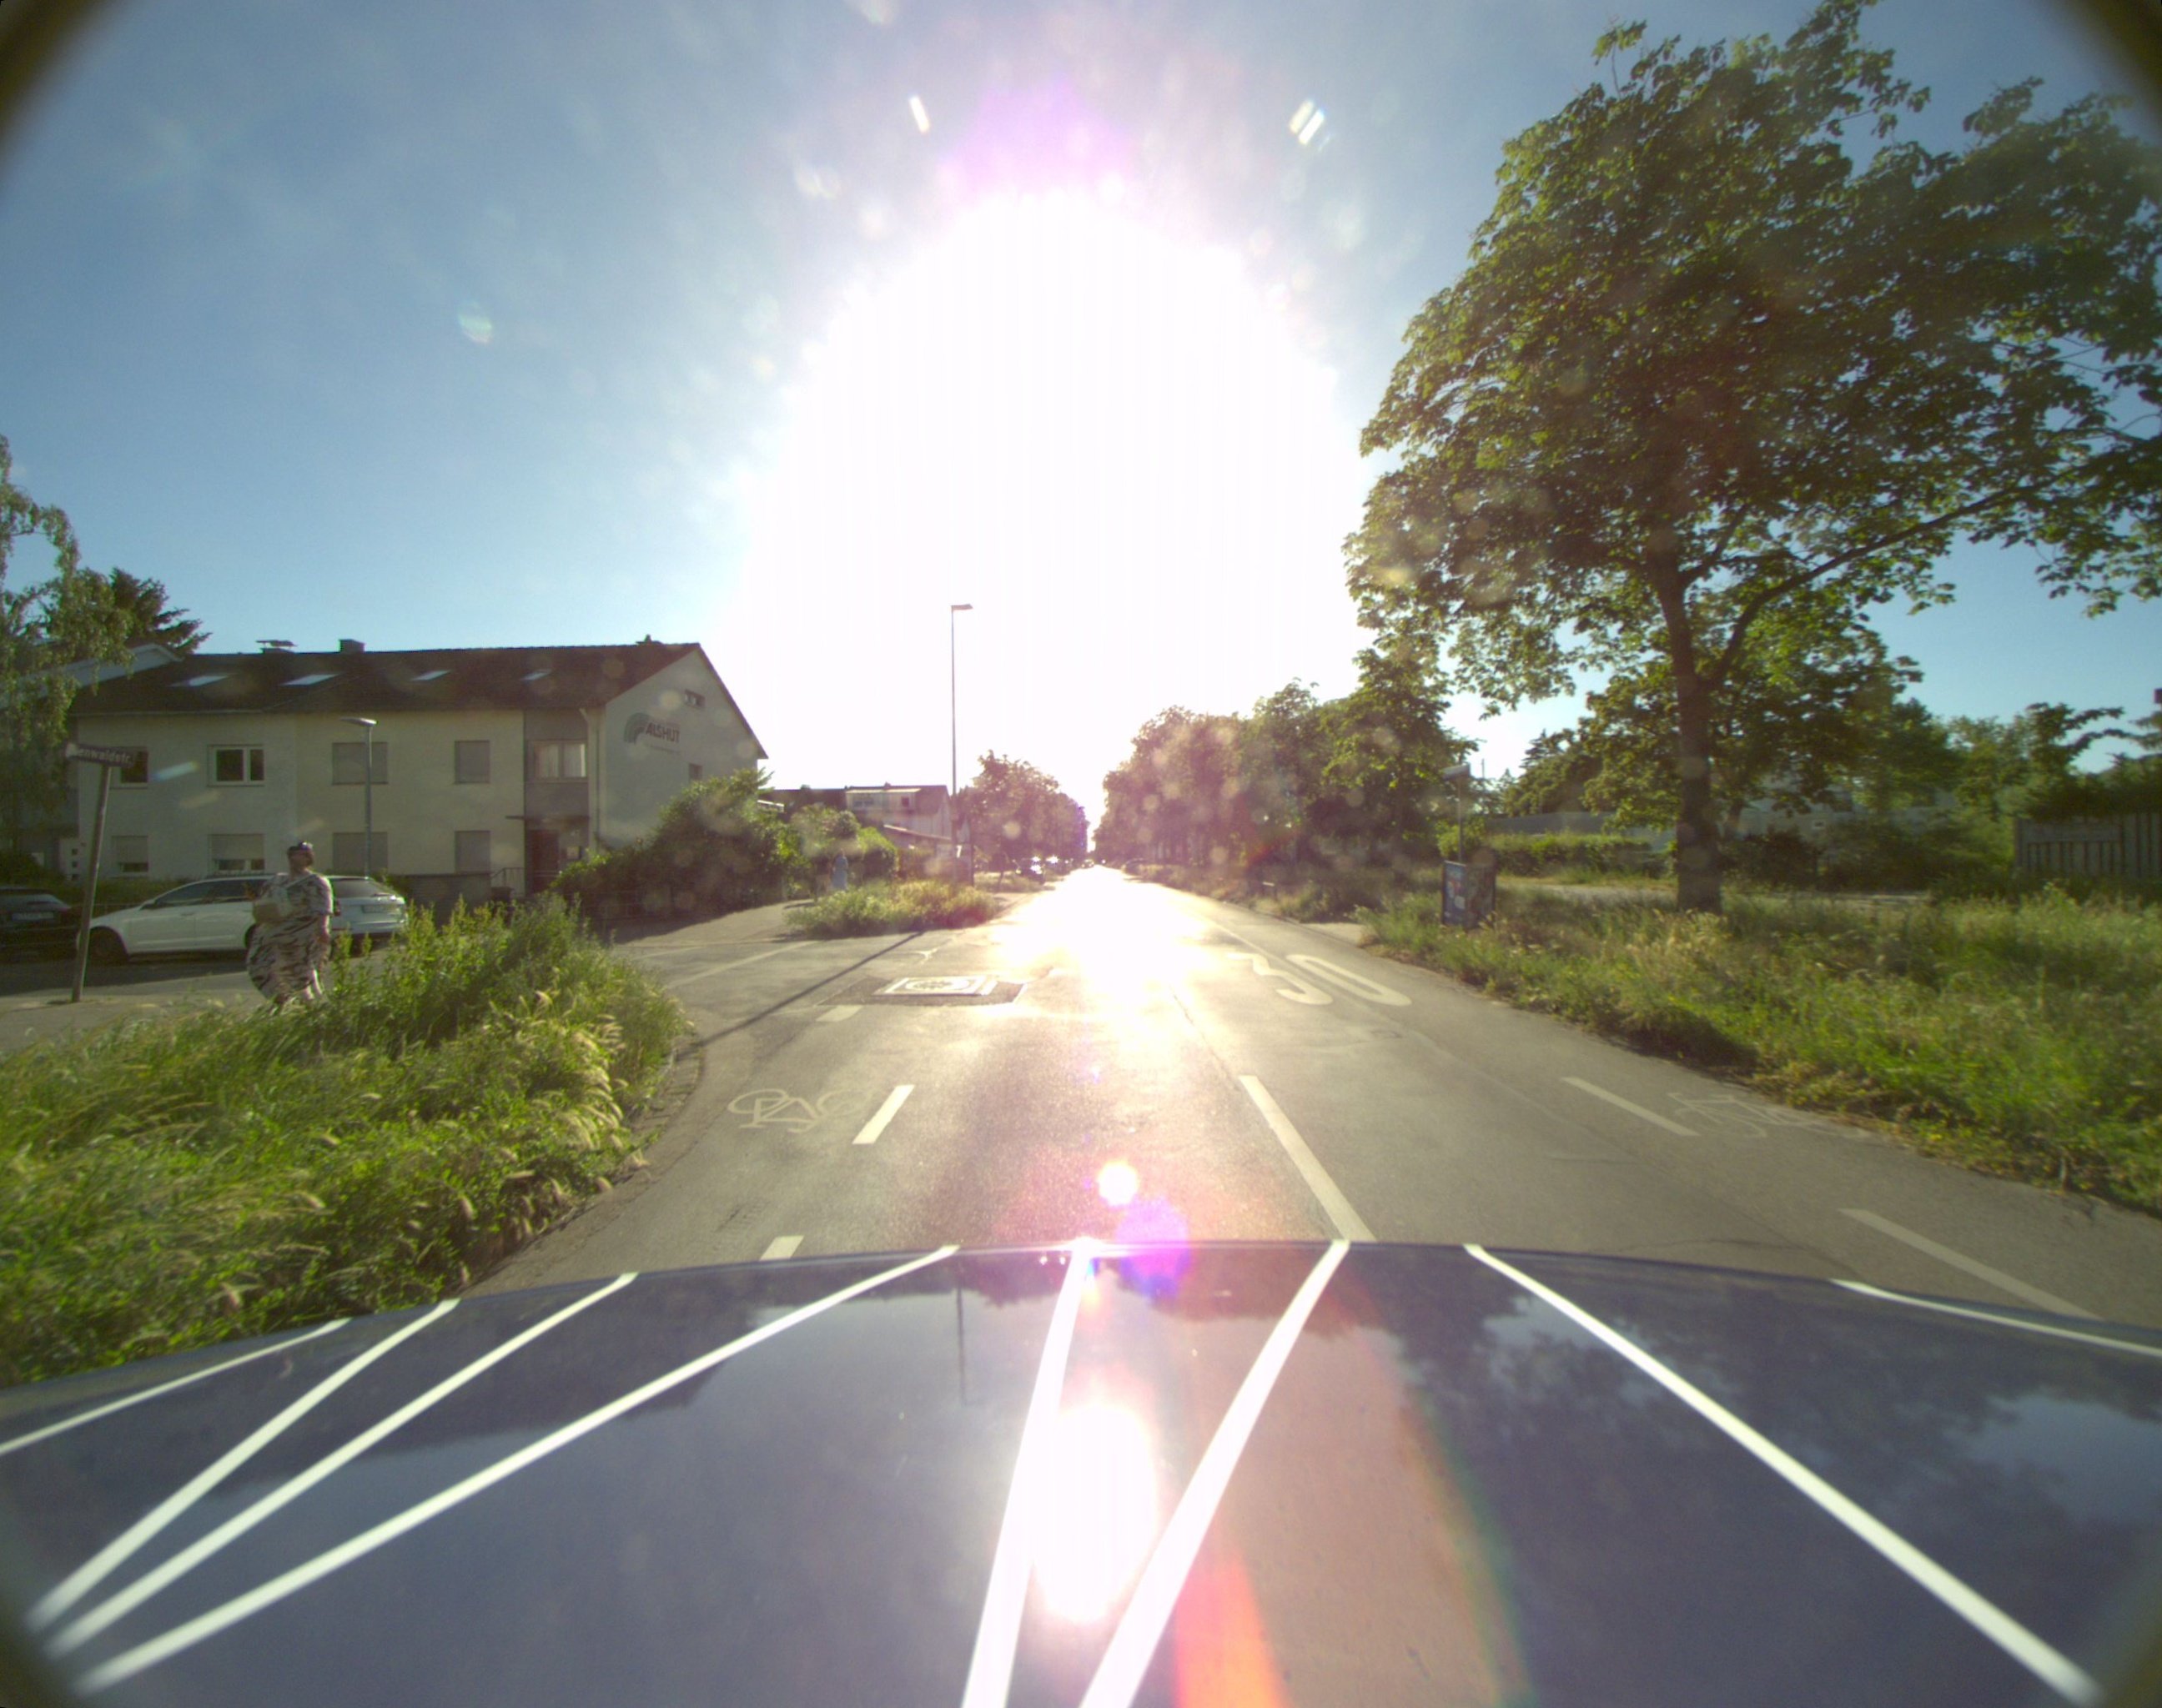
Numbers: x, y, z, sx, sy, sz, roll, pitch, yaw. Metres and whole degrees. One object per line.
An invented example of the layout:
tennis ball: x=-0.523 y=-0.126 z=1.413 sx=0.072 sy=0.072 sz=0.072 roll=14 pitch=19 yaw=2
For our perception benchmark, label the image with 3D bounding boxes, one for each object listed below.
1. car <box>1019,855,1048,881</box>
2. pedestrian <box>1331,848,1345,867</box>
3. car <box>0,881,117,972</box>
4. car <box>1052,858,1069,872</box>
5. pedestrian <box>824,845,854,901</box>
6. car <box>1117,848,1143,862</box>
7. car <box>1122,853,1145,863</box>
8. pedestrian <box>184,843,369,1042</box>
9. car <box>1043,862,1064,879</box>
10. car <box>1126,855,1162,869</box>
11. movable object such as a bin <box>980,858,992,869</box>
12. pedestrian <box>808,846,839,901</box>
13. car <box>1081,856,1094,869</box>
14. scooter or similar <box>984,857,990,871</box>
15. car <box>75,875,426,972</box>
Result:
car: x=-2.920 y=0.856 z=47.164 sx=1.497 sy=1.565 sz=3.601 roll=0 pitch=0 yaw=1
pedestrian: x=16.324 y=0.215 z=48.276 sx=0.639 sy=1.151 sz=0.522 roll=-4 pitch=1 yaw=0
car: x=-19.987 y=1.266 z=13.310 sx=3.952 sy=1.493 sz=1.807 roll=-1 pitch=-1 yaw=1
car: x=-2.242 y=1.199 z=84.817 sx=1.733 sy=1.473 sz=3.858 roll=0 pitch=-1 yaw=0
pedestrian: x=-7.576 y=0.584 z=23.757 sx=0.555 sy=1.722 sz=0.662 roll=-1 pitch=1 yaw=17
car: x=9.932 y=0.198 z=154.948 sx=5.121 sy=2.597 sz=2.125 roll=-2 pitch=1 yaw=4
car: x=9.501 y=0.716 z=138.397 sx=3.997 sy=1.740 sz=1.890 roll=-2 pitch=1 yaw=0
pedestrian: x=-7.769 y=0.813 z=7.385 sx=0.902 sy=1.811 sz=0.736 roll=-2 pitch=1 yaw=-4
car: x=-2.669 y=1.564 z=74.545 sx=1.732 sy=1.568 sz=3.859 roll=0 pitch=0 yaw=4
car: x=7.639 y=0.967 z=91.922 sx=4.204 sy=1.552 sz=2.000 roll=-2 pitch=0 yaw=1
movable object such as a bin: x=-10.577 y=1.067 z=84.615 sx=1.172 sy=1.286 sz=0.928 roll=0 pitch=1 yaw=0
pedestrian: x=-8.135 y=0.607 z=24.001 sx=0.606 sy=1.722 sz=0.640 roll=-2 pitch=1 yaw=17
car: x=1.044 y=1.344 z=125.837 sx=1.998 sy=2.002 sz=4.000 roll=-2 pitch=0 yaw=1
scooter or similar: x=-8.812 y=0.904 z=71.496 sx=0.503 sy=1.288 sz=0.461 roll=0 pitch=1 yaw=-3
car: x=-14.347 y=1.165 z=13.303 sx=4.204 sy=1.493 sz=1.807 roll=-1 pitch=-1 yaw=1
